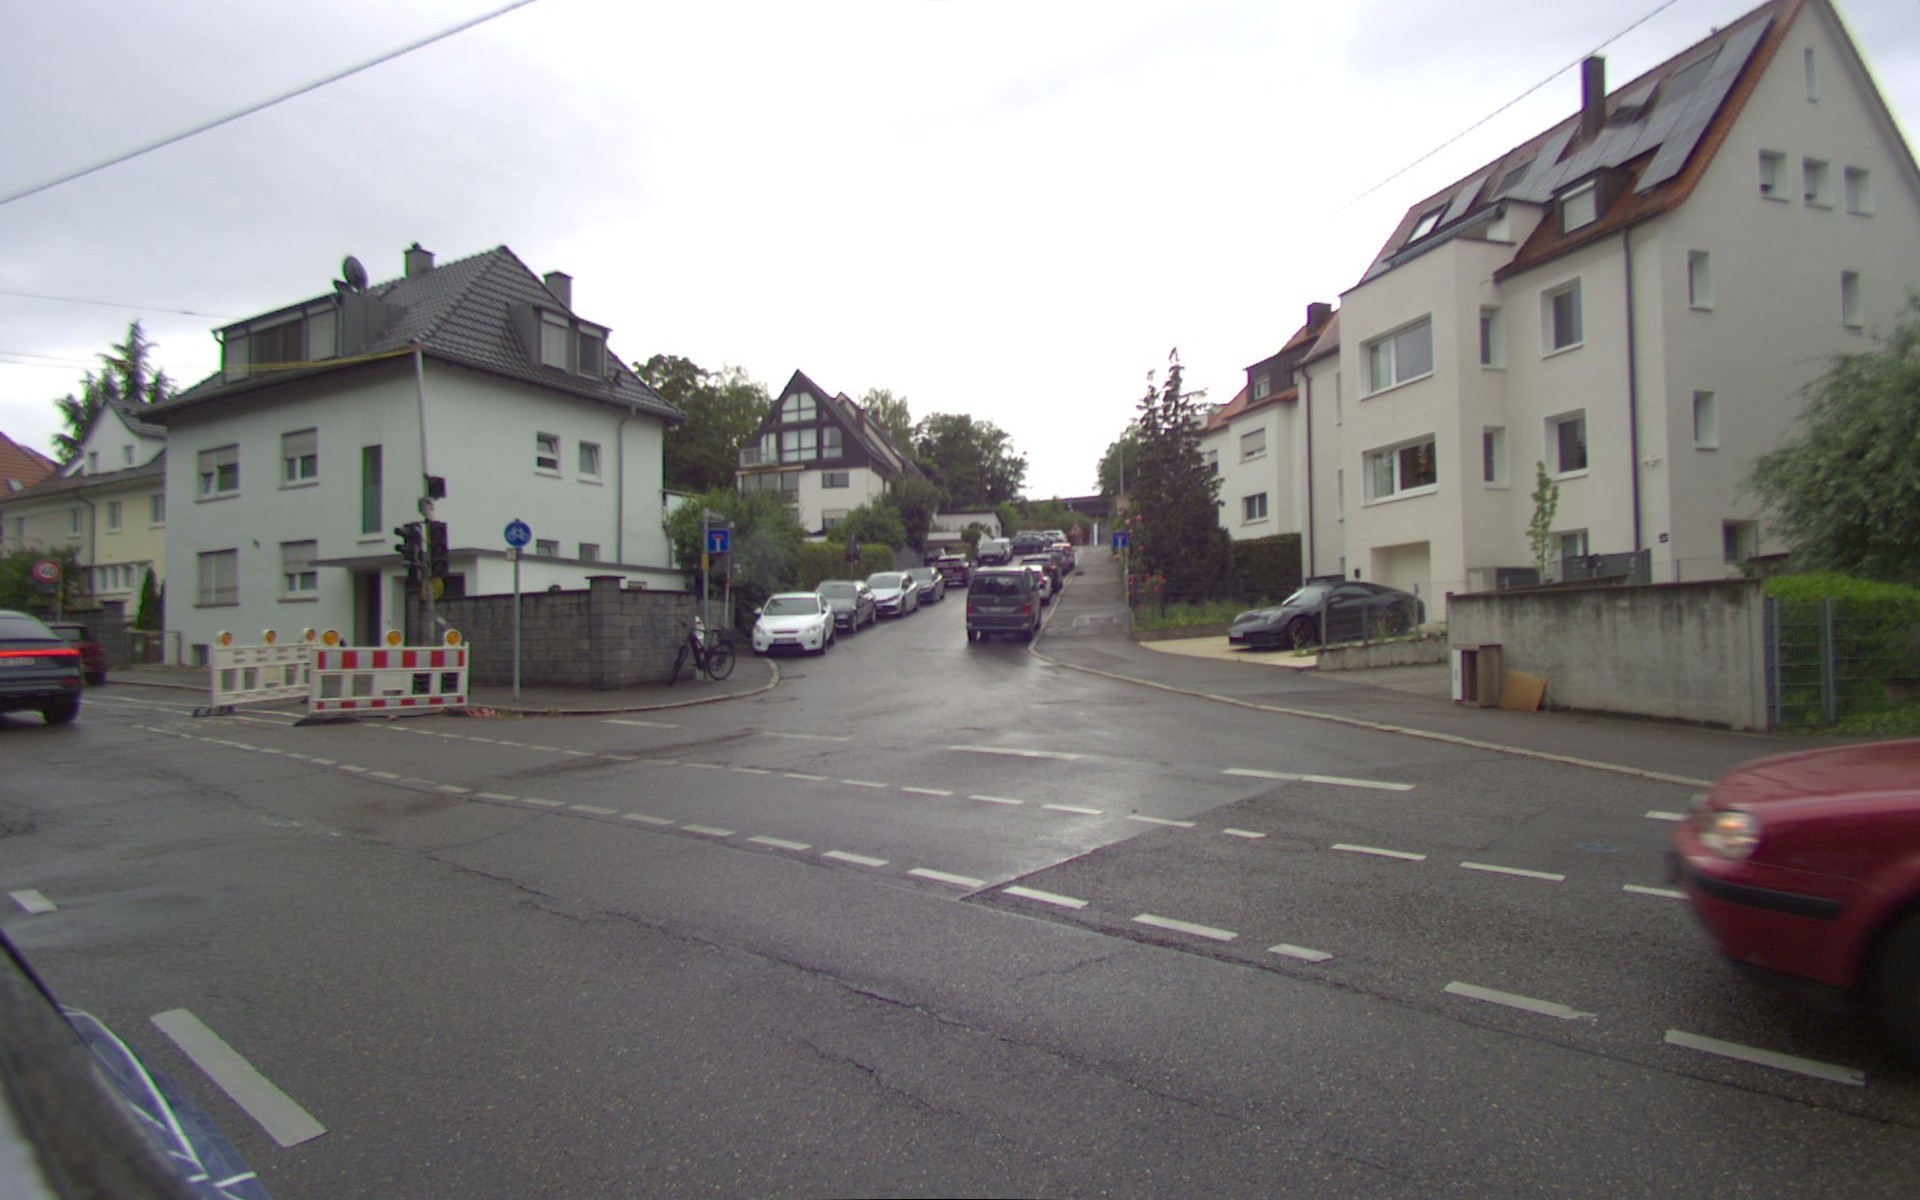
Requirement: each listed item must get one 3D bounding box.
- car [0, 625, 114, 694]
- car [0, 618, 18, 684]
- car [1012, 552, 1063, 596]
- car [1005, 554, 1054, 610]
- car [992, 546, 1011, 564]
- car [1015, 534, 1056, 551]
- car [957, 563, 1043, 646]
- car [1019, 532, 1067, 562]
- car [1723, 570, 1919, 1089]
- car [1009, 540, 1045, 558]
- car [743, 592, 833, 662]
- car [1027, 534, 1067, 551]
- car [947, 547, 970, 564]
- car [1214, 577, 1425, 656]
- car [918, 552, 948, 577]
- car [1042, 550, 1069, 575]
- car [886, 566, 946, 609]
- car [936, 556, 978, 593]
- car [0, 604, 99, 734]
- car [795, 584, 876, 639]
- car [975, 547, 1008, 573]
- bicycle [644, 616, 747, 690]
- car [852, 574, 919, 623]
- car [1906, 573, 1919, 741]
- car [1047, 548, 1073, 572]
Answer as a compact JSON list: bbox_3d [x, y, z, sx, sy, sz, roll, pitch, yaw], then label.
[{"bbox_3d":[-21.473,1.333,23.387,3.833,1.443,1.768,-1,-1,30],"label":"car"},{"bbox_3d":[-26.158,1.316,25.779,4.131,1.653,1.782,-1,-1,25],"label":"car"},{"bbox_3d":[3.517,-1.197,45.380,1.823,1.699,4.039,-1,5,11],"label":"car"},{"bbox_3d":[2.815,-0.758,40.328,1.686,1.843,4.194,-1,6,7],"label":"car"},{"bbox_3d":[3.054,-3.334,74.714,1.292,1.206,2.980,-1,3,5],"label":"car"},{"bbox_3d":[7.388,-5.600,98.792,3.922,1.528,1.748,-1,0,6],"label":"car"},{"bbox_3d":[1.238,0.048,29.329,1.978,2.028,4.482,-1,4,9],"label":"car"},{"bbox_3d":[7.199,-4.571,87.646,3.954,2.028,1.995,-5,-1,8],"label":"car"},{"bbox_3d":[4.434,0.607,2.580,3.882,1.474,1.746,-2,-1,40],"label":"car"},{"bbox_3d":[5.550,-4.207,83.658,2.914,1.328,1.282,-1,0,4],"label":"car"},{"bbox_3d":[-4.358,0.623,26.160,1.827,1.473,4.124,-1,3,-3],"label":"car"},{"bbox_3d":[8.936,-5.910,103.917,3.782,1.529,1.664,-1,0,15],"label":"car"},{"bbox_3d":[-0.086,-3.266,74.025,1.559,1.220,3.650,-1,3,2],"label":"car"},{"bbox_3d":[7.702,0.331,21.776,3.942,1.290,1.613,-5,1,-13],"label":"car"},{"bbox_3d":[-1.831,-2.425,69.797,1.793,1.566,4.009,-1,0,3],"label":"car"},{"bbox_3d":[5.499,-2.149,58.115,1.274,1.325,2.984,-1,3,10],"label":"car"},{"bbox_3d":[-1.811,-0.557,42.963,1.903,1.448,4.100,-1,5,7],"label":"car"},{"bbox_3d":[-0.118,-1.368,52.469,1.623,1.637,3.992,-1,5,8],"label":"car"},{"bbox_3d":[-14.487,0.948,14.468,4.672,1.686,1.979,-1,0,32],"label":"car"},{"bbox_3d":[-3.832,0.316,31.822,1.702,1.397,3.900,-1,4,6],"label":"car"},{"bbox_3d":[2.192,-2.677,68.889,1.770,1.531,4.016,-1,0,9],"label":"car"},{"bbox_3d":[-4.790,0.930,18.461,0.508,1.249,1.984,1,0,32],"label":"bicycle"},{"bbox_3d":[-2.662,-0.088,37.091,1.738,1.481,3.940,-1,4,6],"label":"car"},{"bbox_3d":[10.600,0.422,8.552,3.934,1.497,1.780,-2,-1,-12],"label":"car"},{"bbox_3d":[6.234,-2.454,62.852,1.488,1.373,3.465,-1,0,8],"label":"car"}]
